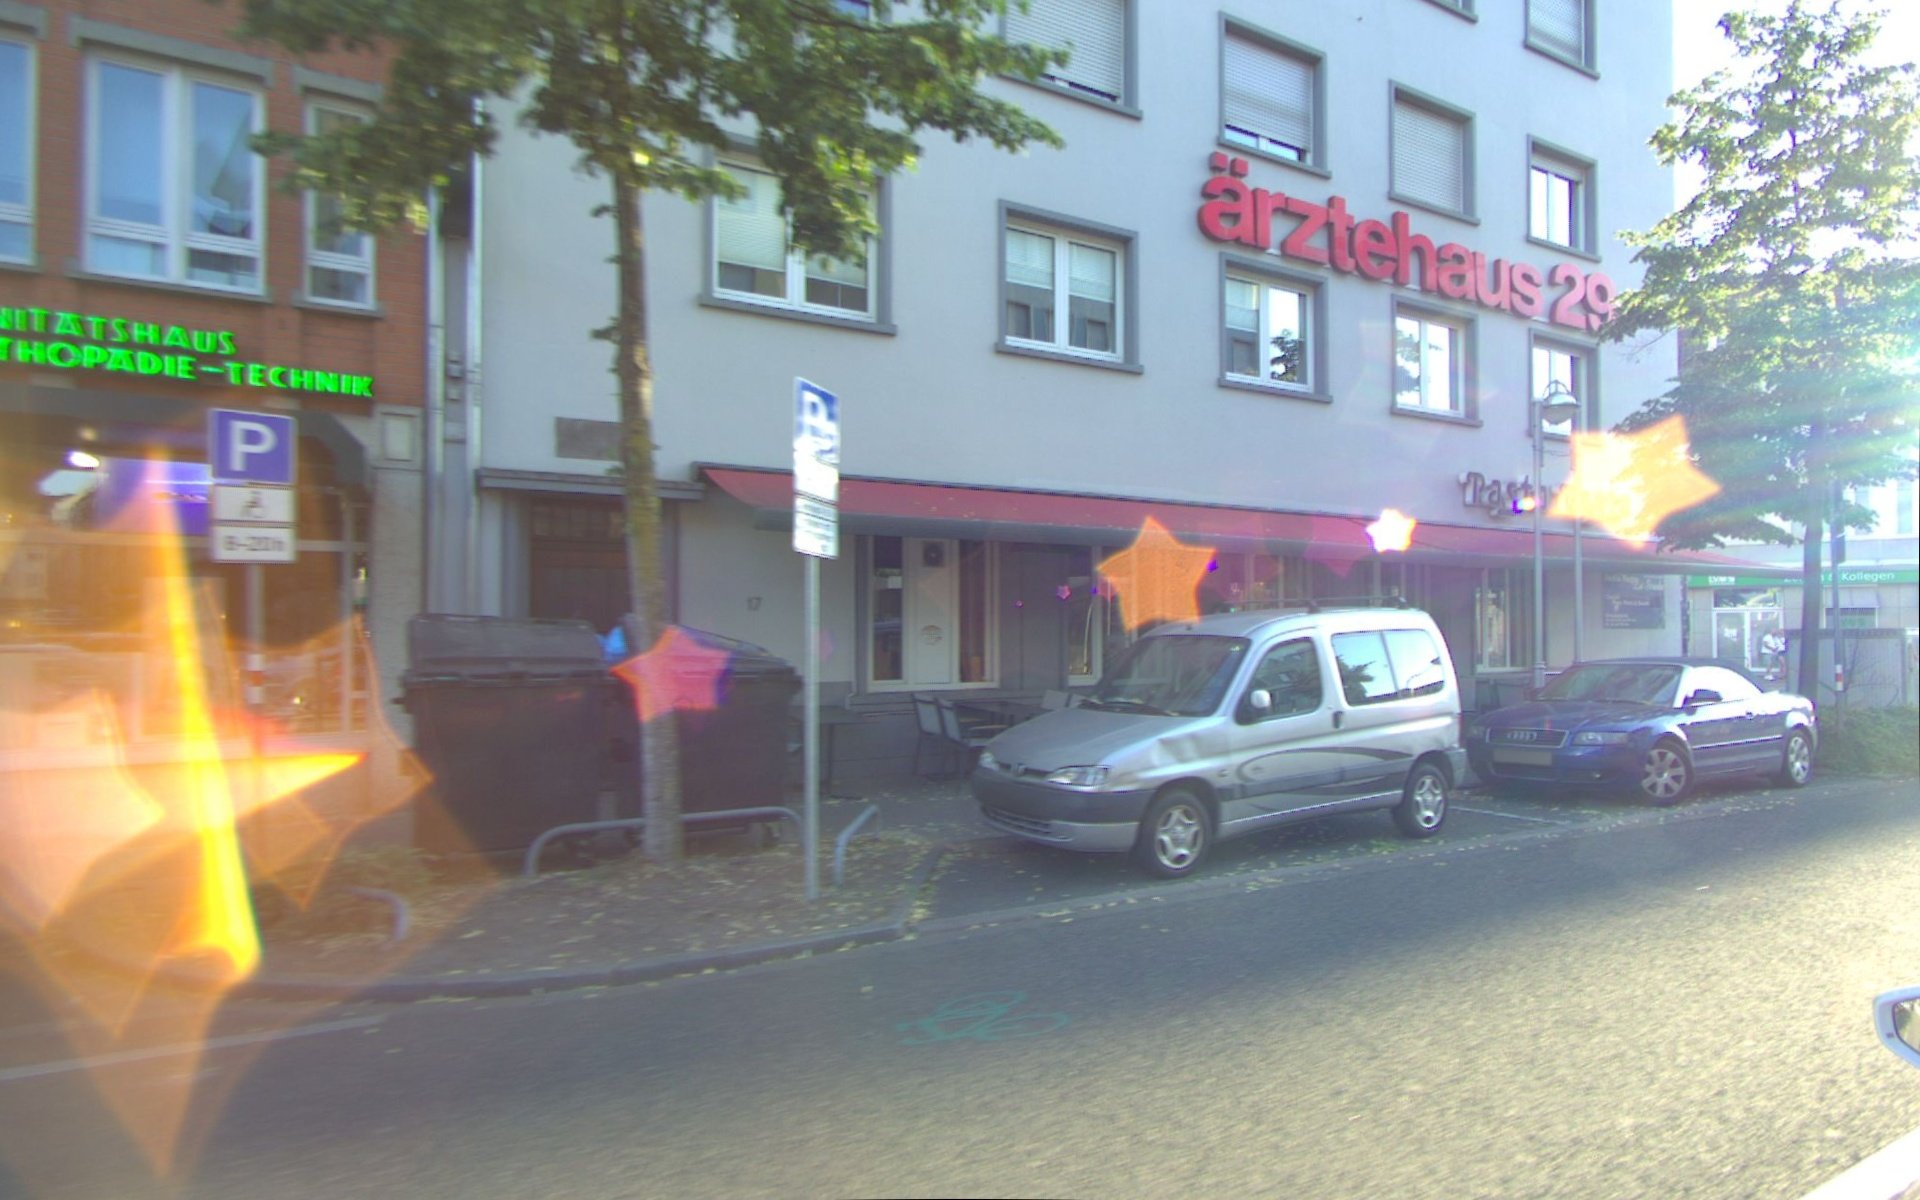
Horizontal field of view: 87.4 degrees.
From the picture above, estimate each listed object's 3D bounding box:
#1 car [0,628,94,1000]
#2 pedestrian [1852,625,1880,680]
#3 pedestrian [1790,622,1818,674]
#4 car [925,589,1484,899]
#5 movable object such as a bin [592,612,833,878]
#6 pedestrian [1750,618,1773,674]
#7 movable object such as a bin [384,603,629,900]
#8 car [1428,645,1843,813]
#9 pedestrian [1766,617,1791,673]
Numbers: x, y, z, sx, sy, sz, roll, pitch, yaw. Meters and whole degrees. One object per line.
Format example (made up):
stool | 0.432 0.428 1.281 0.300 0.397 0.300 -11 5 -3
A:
car | -6.103 0.871 3.309 4.583 1.530 1.907 1 -3 -30
pedestrian | 30.213 1.733 33.501 0.638 1.802 0.669 -2 -2 40
pedestrian | 29.042 1.633 34.556 0.689 1.768 0.637 -2 -2 40
car | 1.969 0.908 7.803 4.102 1.810 1.905 1 -3 -32
movable object such as a bin | -1.870 0.971 7.496 1.424 1.695 1.274 1 2 -31
pedestrian | 28.160 1.607 35.310 0.487 1.954 0.575 -1 -2 27
movable object such as a bin | -3.076 0.897 6.754 1.353 1.695 1.273 1 2 -31
car | 7.190 1.210 10.621 4.329 1.404 1.907 1 -3 -30
pedestrian | 28.727 1.582 35.255 0.520 1.954 0.639 -1 -2 26
